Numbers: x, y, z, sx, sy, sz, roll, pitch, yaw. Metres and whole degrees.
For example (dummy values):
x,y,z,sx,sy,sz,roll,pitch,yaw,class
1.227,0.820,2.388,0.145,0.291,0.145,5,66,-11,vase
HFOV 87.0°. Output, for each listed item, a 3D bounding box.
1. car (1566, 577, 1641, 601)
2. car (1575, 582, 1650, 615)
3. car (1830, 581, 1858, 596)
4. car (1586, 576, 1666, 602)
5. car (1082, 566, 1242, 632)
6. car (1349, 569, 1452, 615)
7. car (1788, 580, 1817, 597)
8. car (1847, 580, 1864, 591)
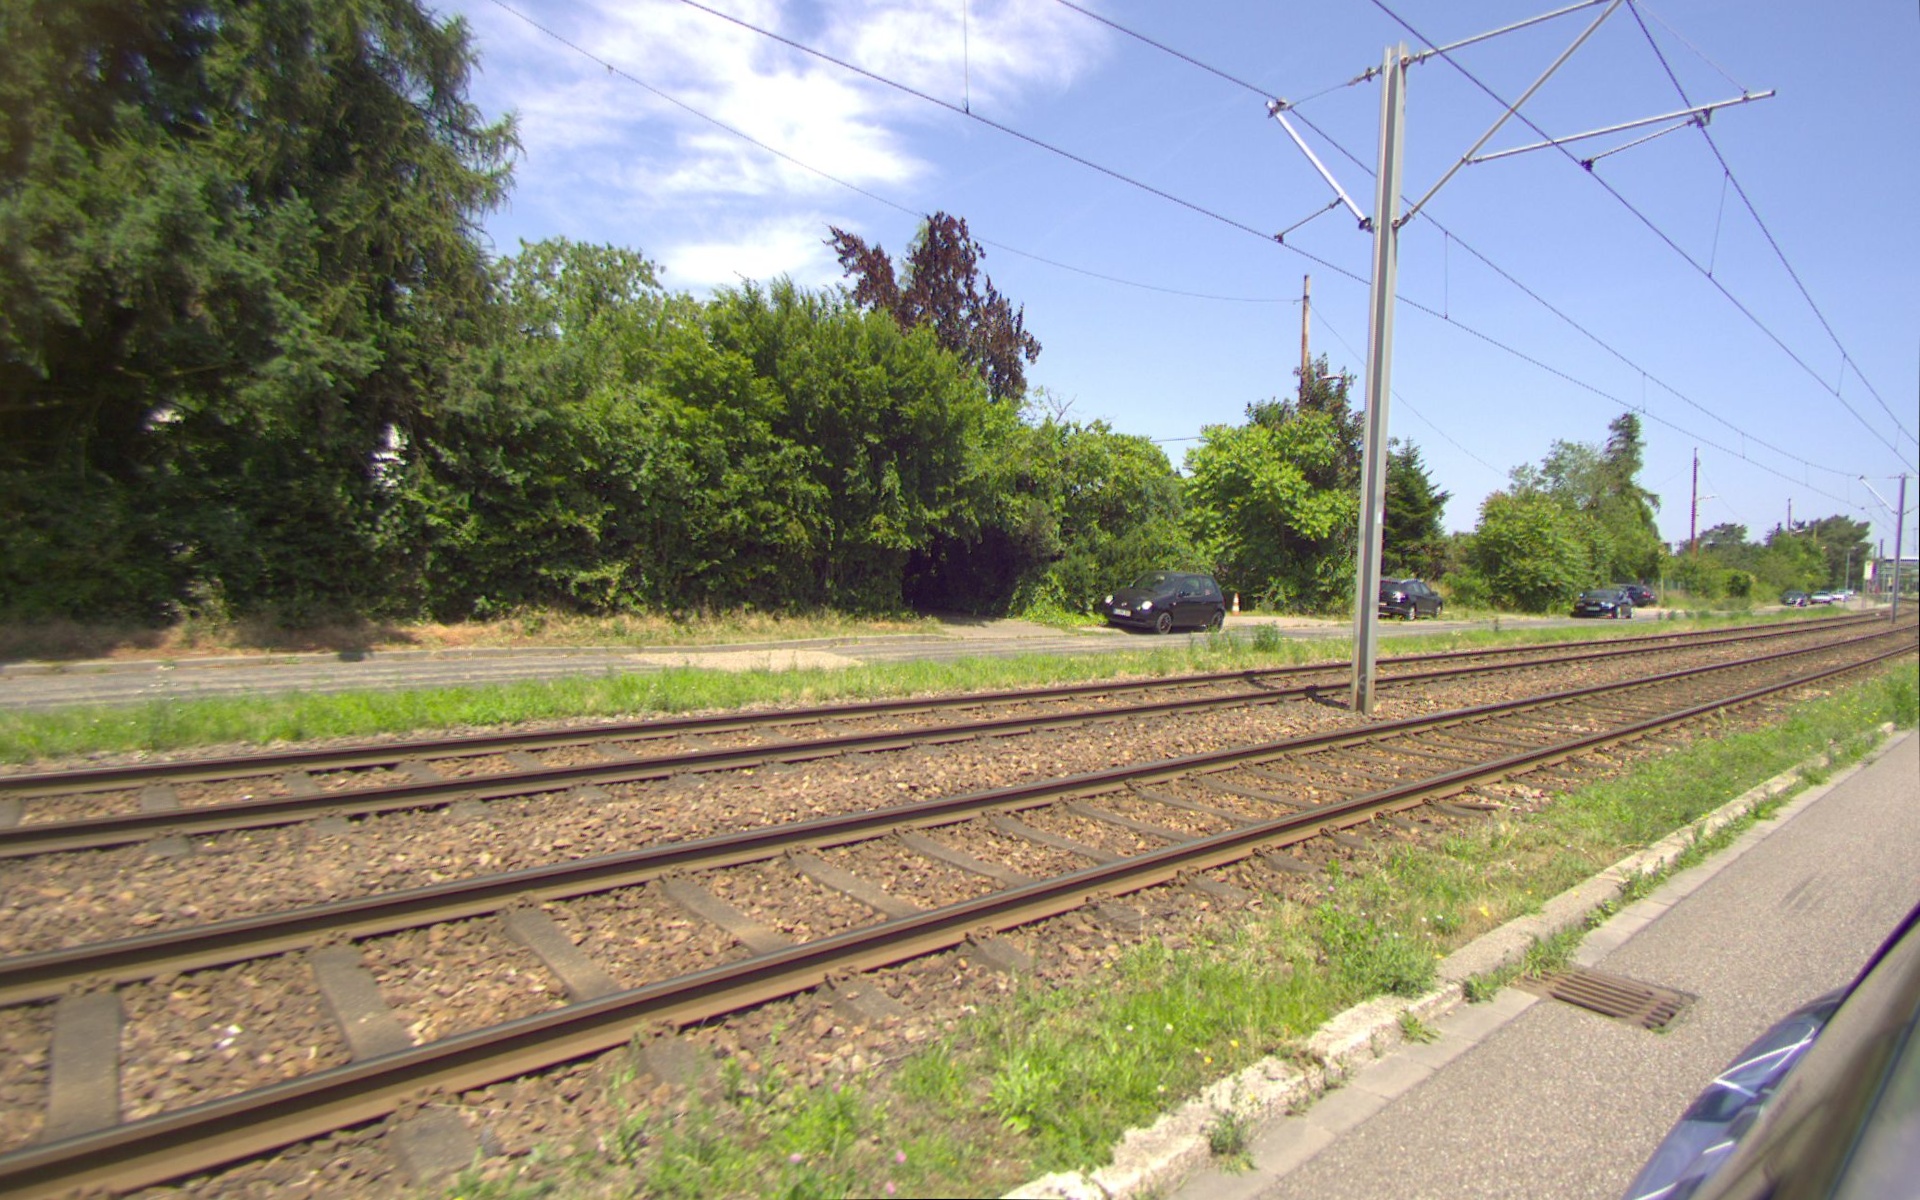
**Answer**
x,y,z,sx,sy,sz,roll,pitch,yaw,class
41.420,-0.759,65.172,1.866,1.436,3.734,-1,3,-41,car
29.497,-0.086,45.714,4.441,1.346,1.863,-1,3,-44,car
92.877,-1.249,106.297,1.940,1.439,3.936,2,3,44,car
43.654,-0.750,66.428,1.864,1.536,4.000,-1,2,-36,car
5.078,-0.079,25.260,3.931,1.488,1.918,-1,3,-41,car
16.408,-0.341,37.615,4.481,1.580,1.937,-1,3,-44,car
78.631,-1.076,94.401,4.794,1.439,1.621,-1,3,-45,car
129.838,-2.069,146.726,1.713,1.507,3.939,2,3,43,car
